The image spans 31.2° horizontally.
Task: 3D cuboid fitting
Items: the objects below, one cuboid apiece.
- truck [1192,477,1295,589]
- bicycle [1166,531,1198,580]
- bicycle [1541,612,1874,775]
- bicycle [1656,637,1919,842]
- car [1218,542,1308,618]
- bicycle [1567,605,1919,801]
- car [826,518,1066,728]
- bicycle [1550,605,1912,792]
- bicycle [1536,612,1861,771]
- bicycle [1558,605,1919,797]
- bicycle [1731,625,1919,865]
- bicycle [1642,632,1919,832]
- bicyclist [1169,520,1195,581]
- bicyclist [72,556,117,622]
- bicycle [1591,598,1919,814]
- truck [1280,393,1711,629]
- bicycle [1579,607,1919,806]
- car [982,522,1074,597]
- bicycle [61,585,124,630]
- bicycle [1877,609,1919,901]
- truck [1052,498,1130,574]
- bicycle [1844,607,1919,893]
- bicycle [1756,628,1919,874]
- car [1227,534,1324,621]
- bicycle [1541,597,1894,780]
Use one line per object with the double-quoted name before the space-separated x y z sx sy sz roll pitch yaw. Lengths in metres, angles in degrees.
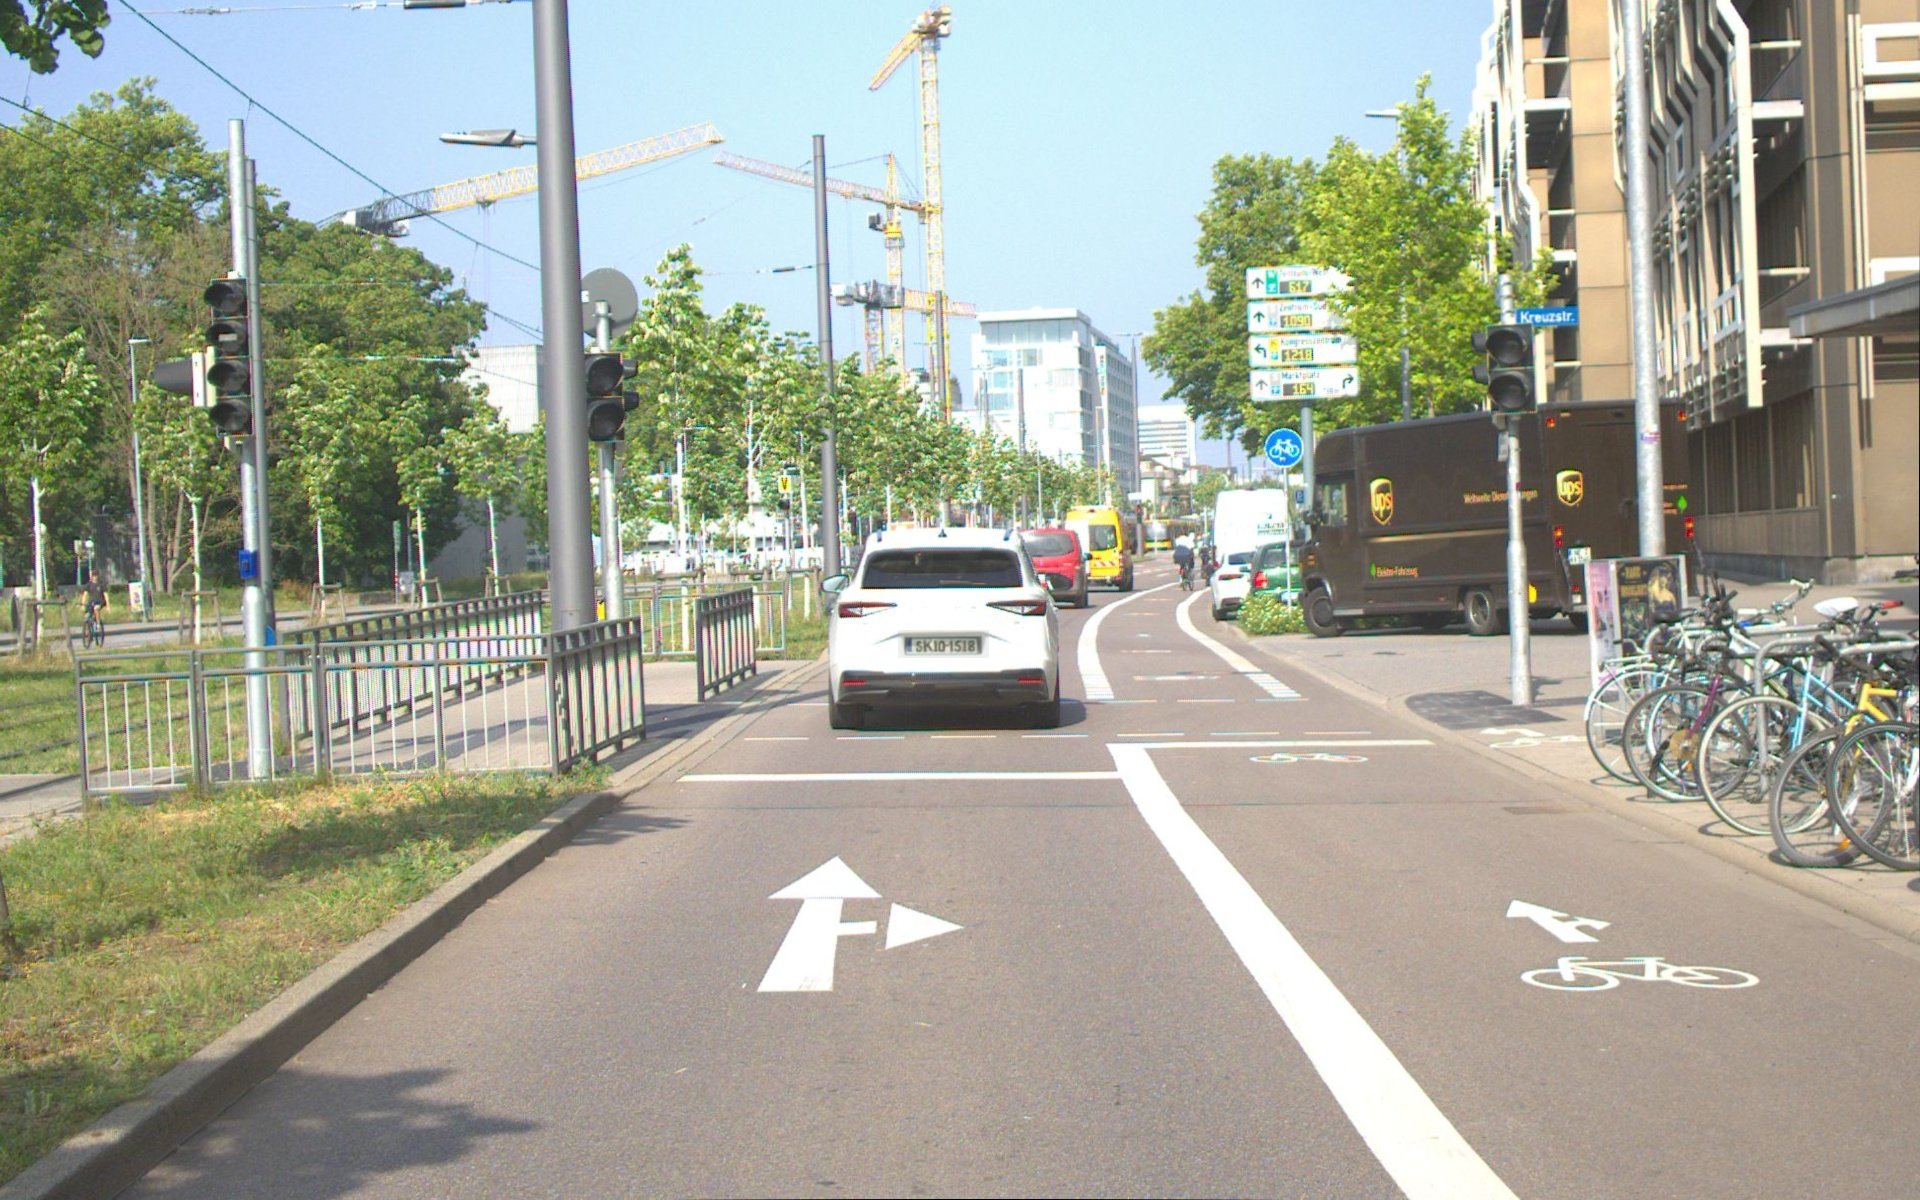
"truck" 6.594 -1.564 80.309 1.993 2.500 4.000 -1 1 0
"bicycle" 7.028 -1.416 108.846 0.781 1.491 2.801 -2 1 -1
"bicycle" 4.538 0.565 20.935 1.887 0.860 0.428 -4 1 3
"bicycle" 4.354 0.638 16.385 1.934 0.871 0.441 -4 1 0
"car" 5.865 -0.401 66.455 1.650 1.380 3.526 -1 1 5
"bicycle" 4.377 0.564 18.965 1.934 0.942 0.440 -4 1 3
"car" -0.189 0.151 28.551 1.817 1.584 4.407 -1 1 -2
"bicycle" 4.426 0.563 19.792 1.934 0.942 0.428 -4 1 3
"bicycle" 4.580 0.565 21.377 1.887 0.860 0.428 -4 1 3
"bicycle" 4.394 0.564 19.349 1.934 0.942 0.428 -4 1 3
"bicycle" 4.464 0.599 15.186 1.955 0.983 0.471 -4 1 0
"bicycle" 4.376 0.622 16.830 1.934 0.871 0.441 -4 1 0
"bicyclist" 7.028 -1.566 108.678 0.709 1.889 0.843 -2 1 -1
"bicyclist" -20.024 -0.263 79.566 0.696 1.510 1.186 -1 1 0
"bicycle" 4.344 0.544 18.038 1.934 1.009 0.440 -4 1 3
"truck" 7.261 -1.181 47.703 2.509 3.001 6.961 -2 1 -24
"bicycle" 4.361 0.566 18.485 1.934 0.942 0.440 -4 1 3
"car" 1.623 -0.957 81.108 1.994 1.678 4.368 -1 1 3
"bicycle" -20.007 0.160 79.369 0.696 0.987 2.824 -1 1 0
"bicycle" 4.753 0.530 13.218 2.239 1.100 0.588 -4 1 0
"truck" 4.139 -2.041 109.665 2.213 2.310 5.890 -1 1 0
"bicycle" 4.759 0.529 13.773 2.239 1.100 0.519 -4 1 0
"bicycle" 4.453 0.601 14.705 1.934 0.983 0.471 -4 1 0
"car" 5.701 -0.424 62.155 1.650 1.494 3.526 -1 1 5
"bicycle" 4.451 0.517 20.256 1.934 0.942 0.428 -4 1 3
